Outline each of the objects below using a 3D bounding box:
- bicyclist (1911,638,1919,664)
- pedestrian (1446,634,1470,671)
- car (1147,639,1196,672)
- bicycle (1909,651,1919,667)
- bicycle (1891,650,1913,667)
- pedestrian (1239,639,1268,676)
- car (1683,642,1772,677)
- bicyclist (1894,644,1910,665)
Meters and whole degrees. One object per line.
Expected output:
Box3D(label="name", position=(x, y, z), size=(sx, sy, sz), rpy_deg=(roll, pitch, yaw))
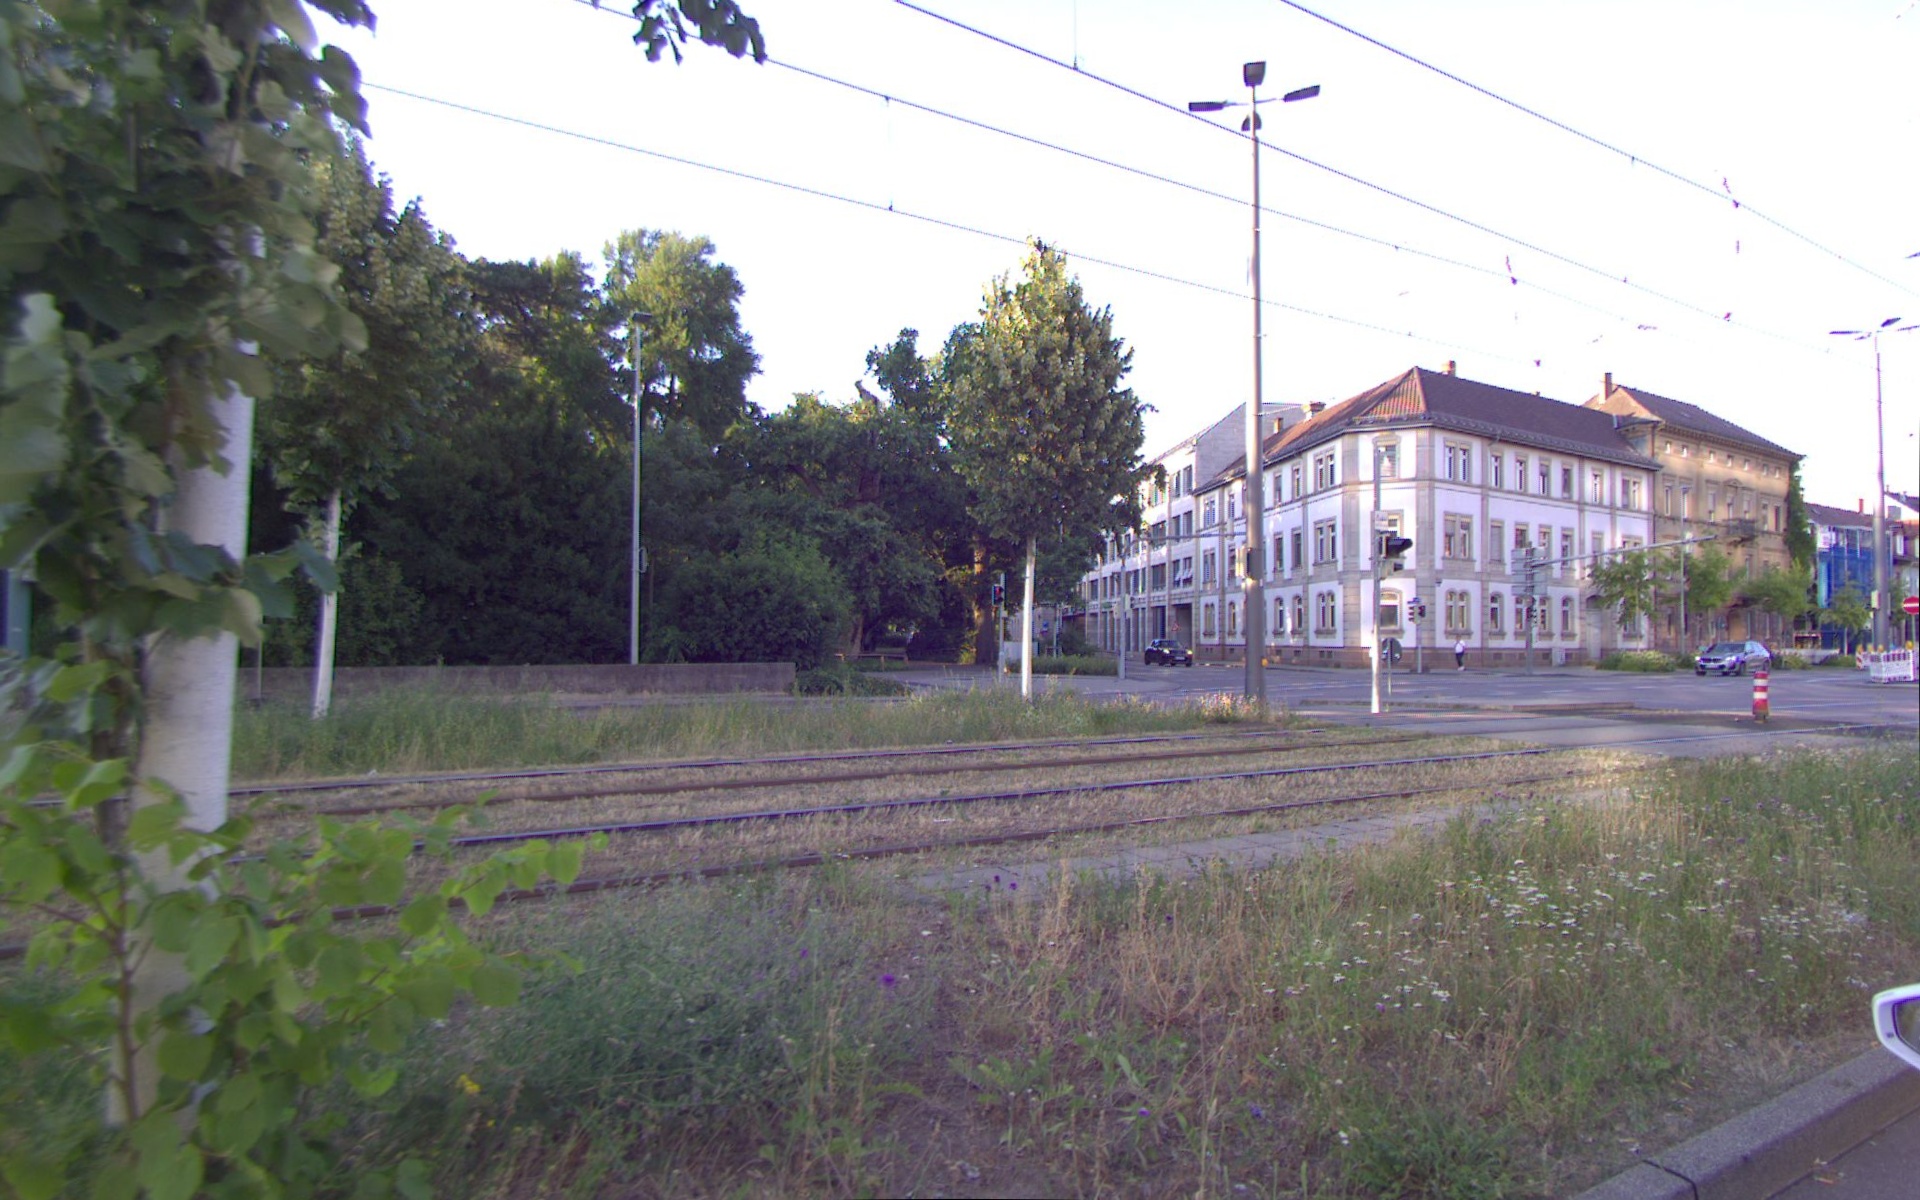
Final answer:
Box3D(label="bicyclist", position=(60.448, 3.199, 63.116), size=(0.783, 1.592, 0.768), rpy_deg=(1, 0, -30))
Box3D(label="pedestrian", position=(24.323, 2.570, 49.048), size=(0.797, 1.738, 0.704), rpy_deg=(1, 0, -1))
Box3D(label="car", position=(11.506, 3.005, 54.906), size=(1.755, 1.576, 3.999), rpy_deg=(1, 0, -1))
Box3D(label="bicycle", position=(60.434, 3.682, 63.120), size=(1.620, 0.957, 0.768), rpy_deg=(1, 0, -30))
Box3D(label="bicycle", position=(57.864, 3.602, 61.712), size=(1.538, 1.002, 0.587), rpy_deg=(1, 0, -31))
Box3D(label="pedestrian", position=(11.848, 2.315, 40.546), size=(0.926, 1.478, 0.600), rpy_deg=(1, 0, -33))
Box3D(label="car", position=(36.470, 2.798, 47.714), size=(4.076, 1.601, 1.984), rpy_deg=(1, -3, -31))
Box3D(label="bicyclist", position=(57.865, 3.349, 61.705), size=(0.454, 1.283, 0.587), rpy_deg=(1, 0, -30))
